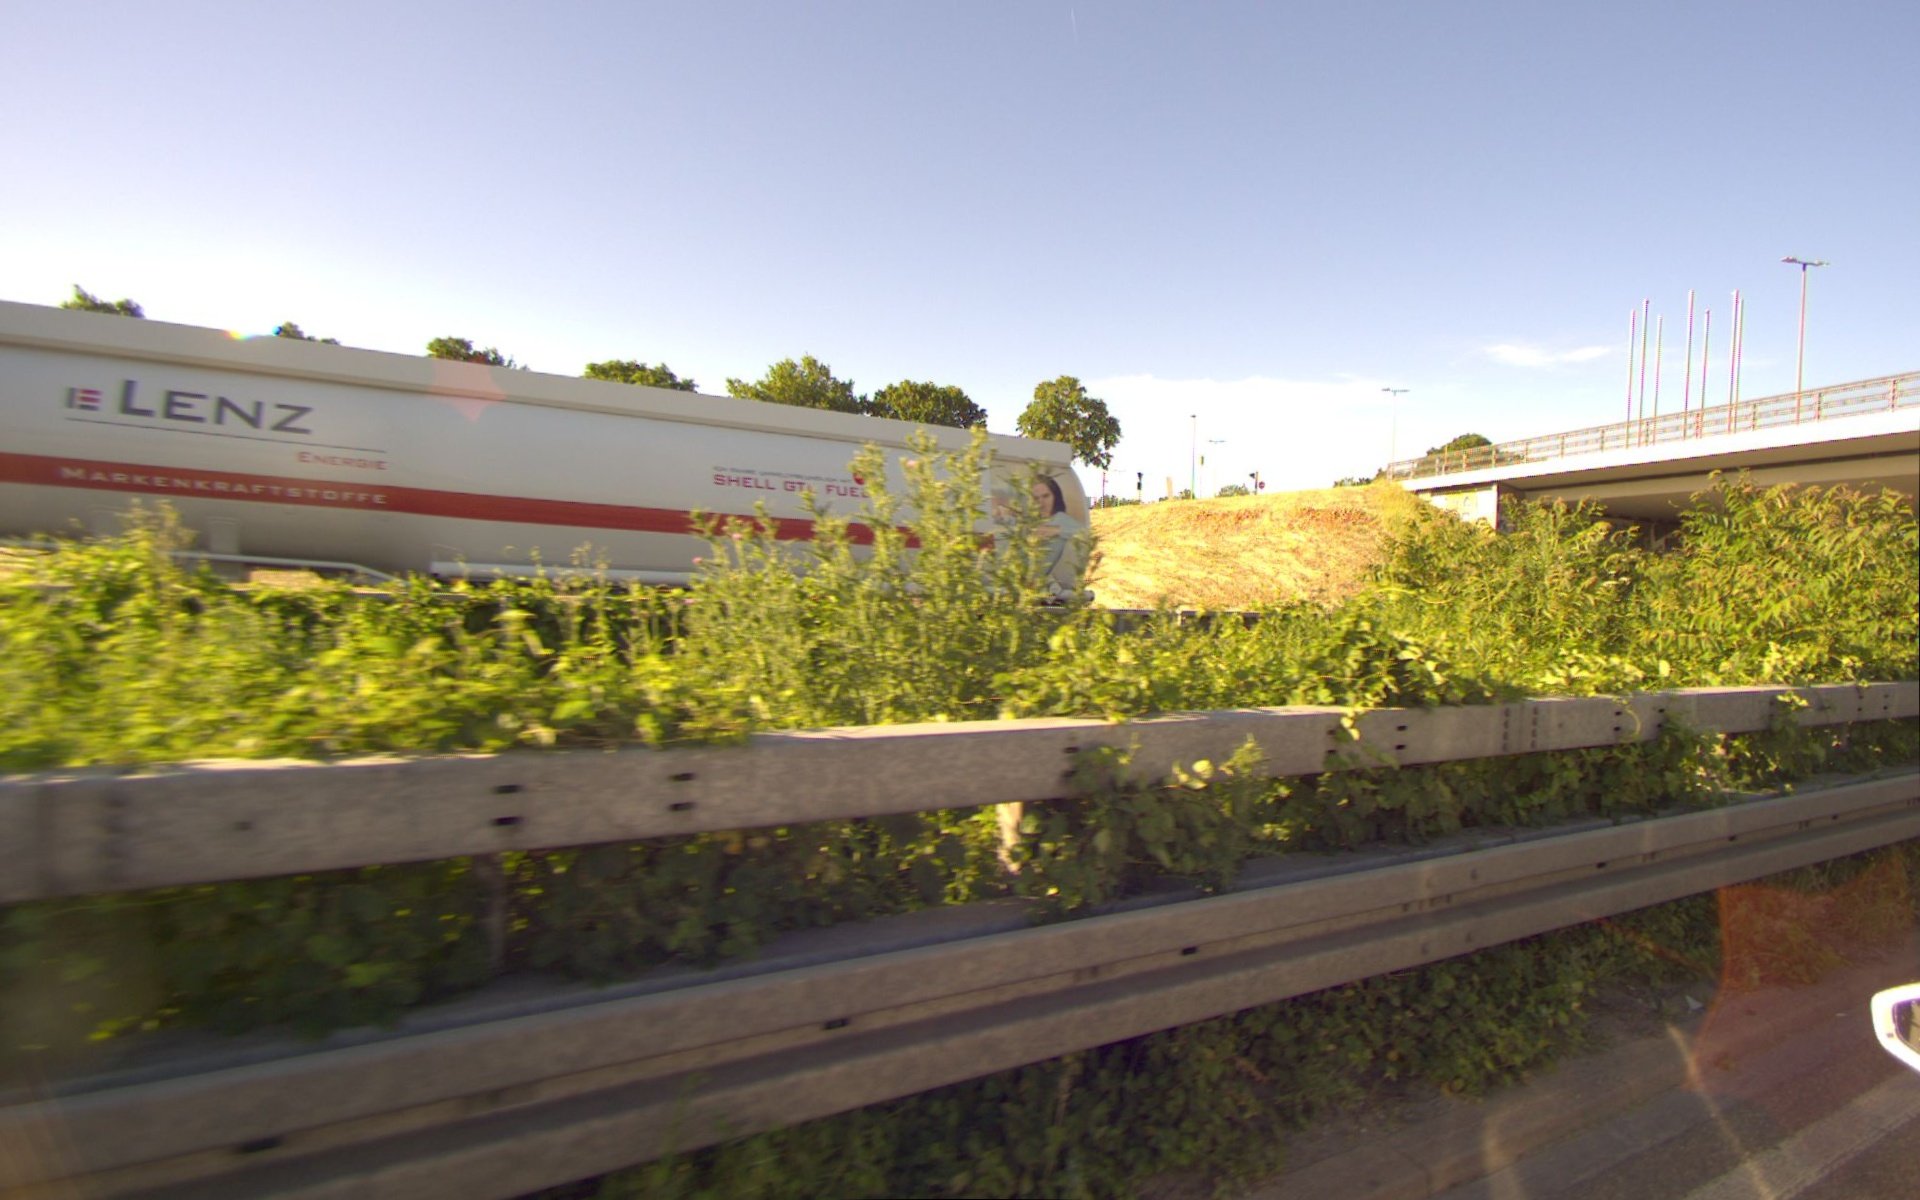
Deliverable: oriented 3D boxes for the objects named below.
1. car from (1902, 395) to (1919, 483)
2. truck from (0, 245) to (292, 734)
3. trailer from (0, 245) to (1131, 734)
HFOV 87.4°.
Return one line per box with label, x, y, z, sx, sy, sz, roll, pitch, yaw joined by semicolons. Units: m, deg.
car;33.156;-5.340;31.905;2.042;2.843;4.318;1;1;-7
truck;-8.841;-0.886;8.329;5.260;3.706;2.763;1;1;-30
trailer;-3.695;-0.793;11.339;12.060;3.706;2.763;1;1;-30
